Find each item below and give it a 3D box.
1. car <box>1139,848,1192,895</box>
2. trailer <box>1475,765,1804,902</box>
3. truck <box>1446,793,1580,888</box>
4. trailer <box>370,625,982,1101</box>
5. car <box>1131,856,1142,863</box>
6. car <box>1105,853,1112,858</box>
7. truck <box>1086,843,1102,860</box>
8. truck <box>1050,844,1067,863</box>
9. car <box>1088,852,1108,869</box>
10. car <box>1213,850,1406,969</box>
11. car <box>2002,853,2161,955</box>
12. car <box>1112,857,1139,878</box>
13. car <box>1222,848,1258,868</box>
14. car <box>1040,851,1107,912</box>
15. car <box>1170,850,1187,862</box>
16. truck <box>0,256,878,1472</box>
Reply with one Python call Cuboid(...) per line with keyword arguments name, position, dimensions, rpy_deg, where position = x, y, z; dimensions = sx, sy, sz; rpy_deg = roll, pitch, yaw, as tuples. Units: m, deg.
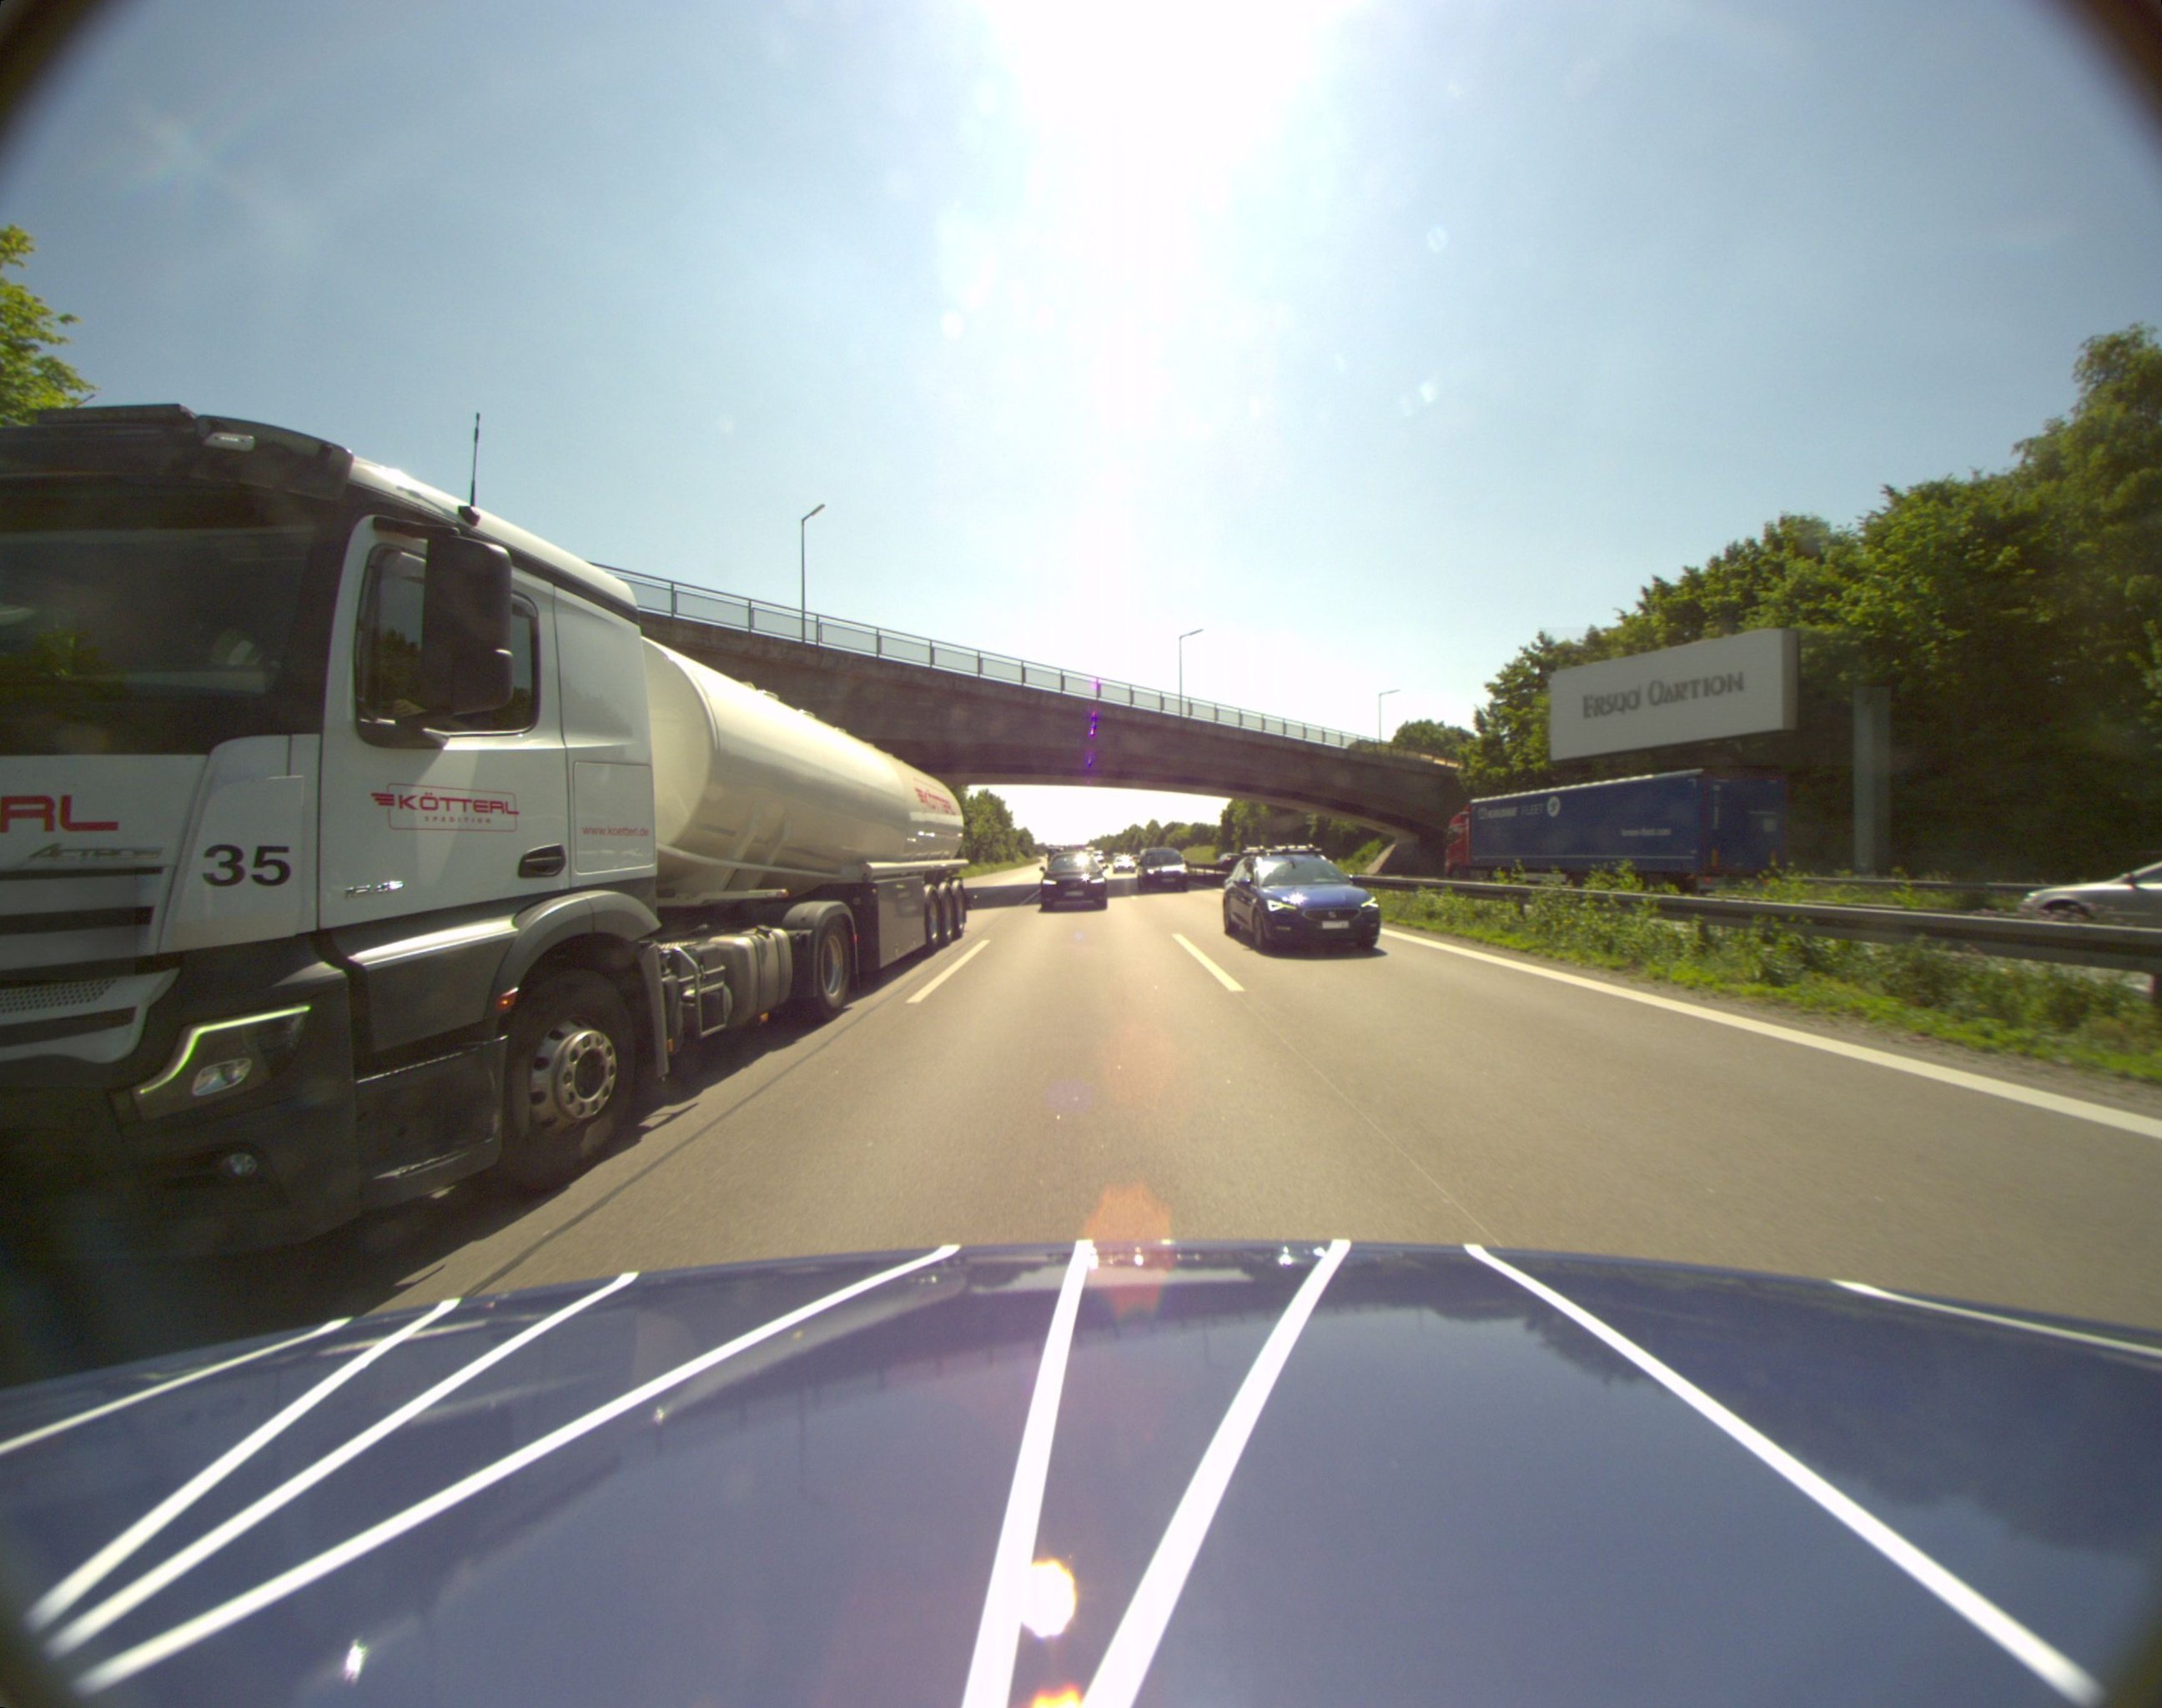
Cuboid(name="car", position=(3.430, 0.668, 31.429), dimensions=(1.870, 1.713, 3.980), rpy_deg=(-1, 1, 2))
Cuboid(name="trailer", position=(20.073, -0.619, 29.328), dimensions=(2.792, 4.017, 13.547), rpy_deg=(1, 0, 1))
Cuboid(name="truck", position=(20.142, -0.596, 35.908), dimensions=(2.792, 4.037, 6.209), rpy_deg=(1, 0, 1))
Cuboid(name="trailer", position=(-3.664, 0.064, 11.086), dimensions=(2.655, 3.370, 11.151), rpy_deg=(-2, 0, 1))
Cuboid(name="car", position=(11.376, 1.106, 155.248), dimensions=(1.864, 1.518, 4.751), rpy_deg=(-1, 0, 0))
Cuboid(name="car", position=(9.179, 0.377, 252.349), dimensions=(1.999, 1.595, 5.089), rpy_deg=(-1, 0, 0))
Cuboid(name="truck", position=(2.869, -0.614, 173.044), dimensions=(3.242, 3.684, 10.934), rpy_deg=(0, 0, 0))
Cuboid(name="truck", position=(-4.120, -0.117, 137.233), dimensions=(2.965, 3.388, 8.046), rpy_deg=(0, 0, -2))
Cuboid(name="car", position=(2.988, 1.129, 136.190), dimensions=(3.242, 3.094, 7.603), rpy_deg=(0, 0, 0))
Cuboid(name="car", position=(3.571, 0.785, 12.766), dimensions=(1.905, 1.616, 4.240), rpy_deg=(-2, 0, -1))
Cuboid(name="car", position=(15.528, 0.684, 9.829), dimensions=(1.729, 1.367, 4.545), rpy_deg=(-1, 0, 0))
Cuboid(name="car", position=(3.753, 1.124, 64.774), dimensions=(1.999, 1.540, 3.999), rpy_deg=(-1, 1, -1))
Cuboid(name="car", position=(12.213, 0.285, 58.495), dimensions=(1.886, 1.475, 4.434), rpy_deg=(-1, 0, 0))
Cuboid(name="car", position=(-0.236, 0.759, 23.103), dimensions=(1.812, 1.648, 3.999), rpy_deg=(-2, 0, -1))
Cuboid(name="car", position=(12.914, 0.272, 100.619), dimensions=(1.687, 1.473, 4.347), rpy_deg=(-1, 0, 0))
Cuboid(name="truck", position=(-3.707, 0.071, 5.354), dimensions=(2.644, 3.355, 6.487), rpy_deg=(-2, 0, 0))
